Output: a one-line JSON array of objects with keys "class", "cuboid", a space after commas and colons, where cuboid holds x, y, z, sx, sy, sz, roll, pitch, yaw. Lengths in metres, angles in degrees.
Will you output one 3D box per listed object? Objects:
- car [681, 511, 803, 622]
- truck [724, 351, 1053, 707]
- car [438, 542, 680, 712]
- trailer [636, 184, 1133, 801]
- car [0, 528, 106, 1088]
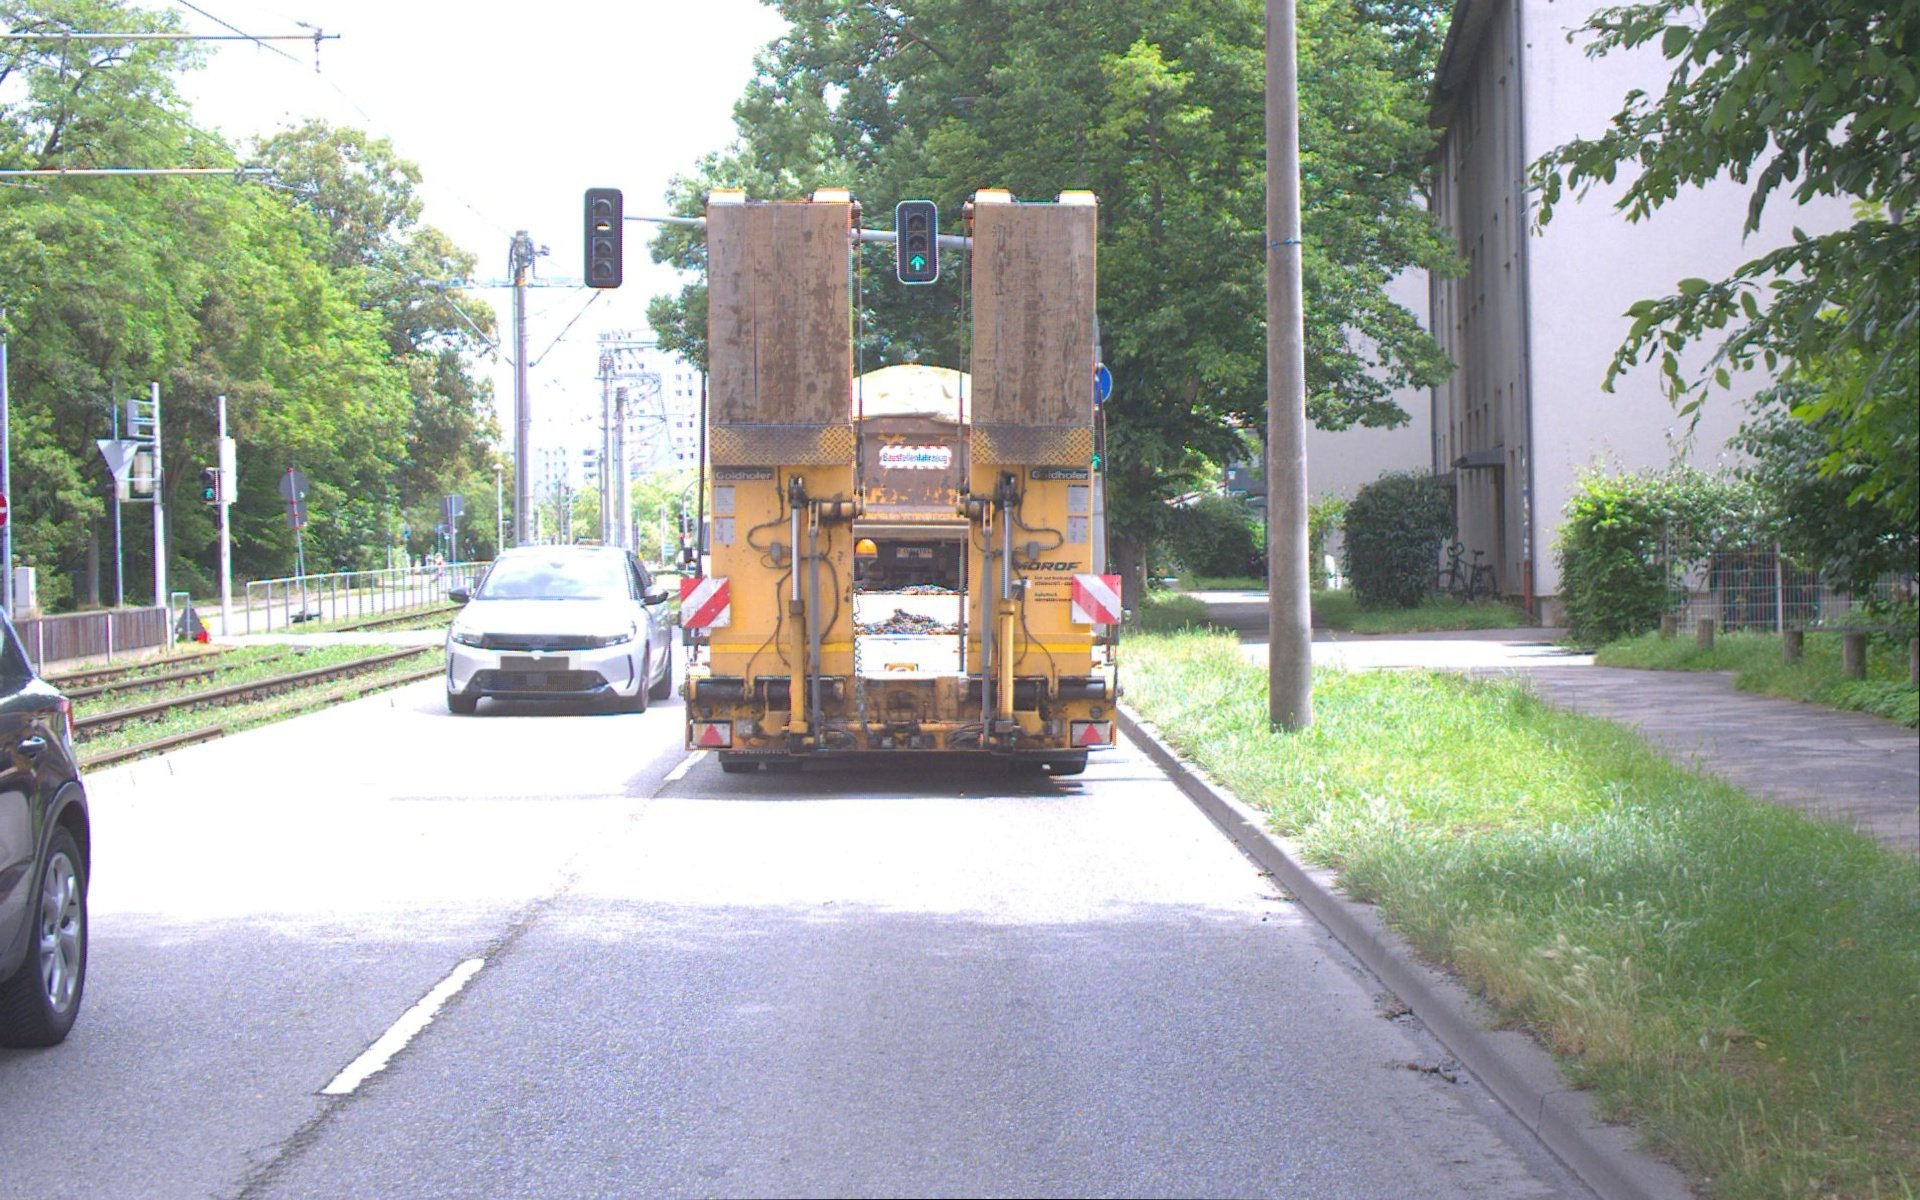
[{"class": "car", "cuboid": [-3.882, -0.620, 61.804, 1.942, 1.933, 4.317, 0, 1, 0]}, {"class": "truck", "cuboid": [-0.699, -0.712, 34.631, 2.917, 3.156, 7.681, 1, 1, -1]}, {"class": "car", "cuboid": [-3.536, 0.191, 30.906, 1.730, 1.412, 3.984, 0, 1, 0]}, {"class": "trailer", "cuboid": [-0.561, -0.716, 25.274, 2.822, 3.512, 11.053, 1, 1, -1]}, {"class": "car", "cuboid": [-3.409, 0.575, 8.549, 1.650, 1.515, 3.866, 0, 1, -1]}]
